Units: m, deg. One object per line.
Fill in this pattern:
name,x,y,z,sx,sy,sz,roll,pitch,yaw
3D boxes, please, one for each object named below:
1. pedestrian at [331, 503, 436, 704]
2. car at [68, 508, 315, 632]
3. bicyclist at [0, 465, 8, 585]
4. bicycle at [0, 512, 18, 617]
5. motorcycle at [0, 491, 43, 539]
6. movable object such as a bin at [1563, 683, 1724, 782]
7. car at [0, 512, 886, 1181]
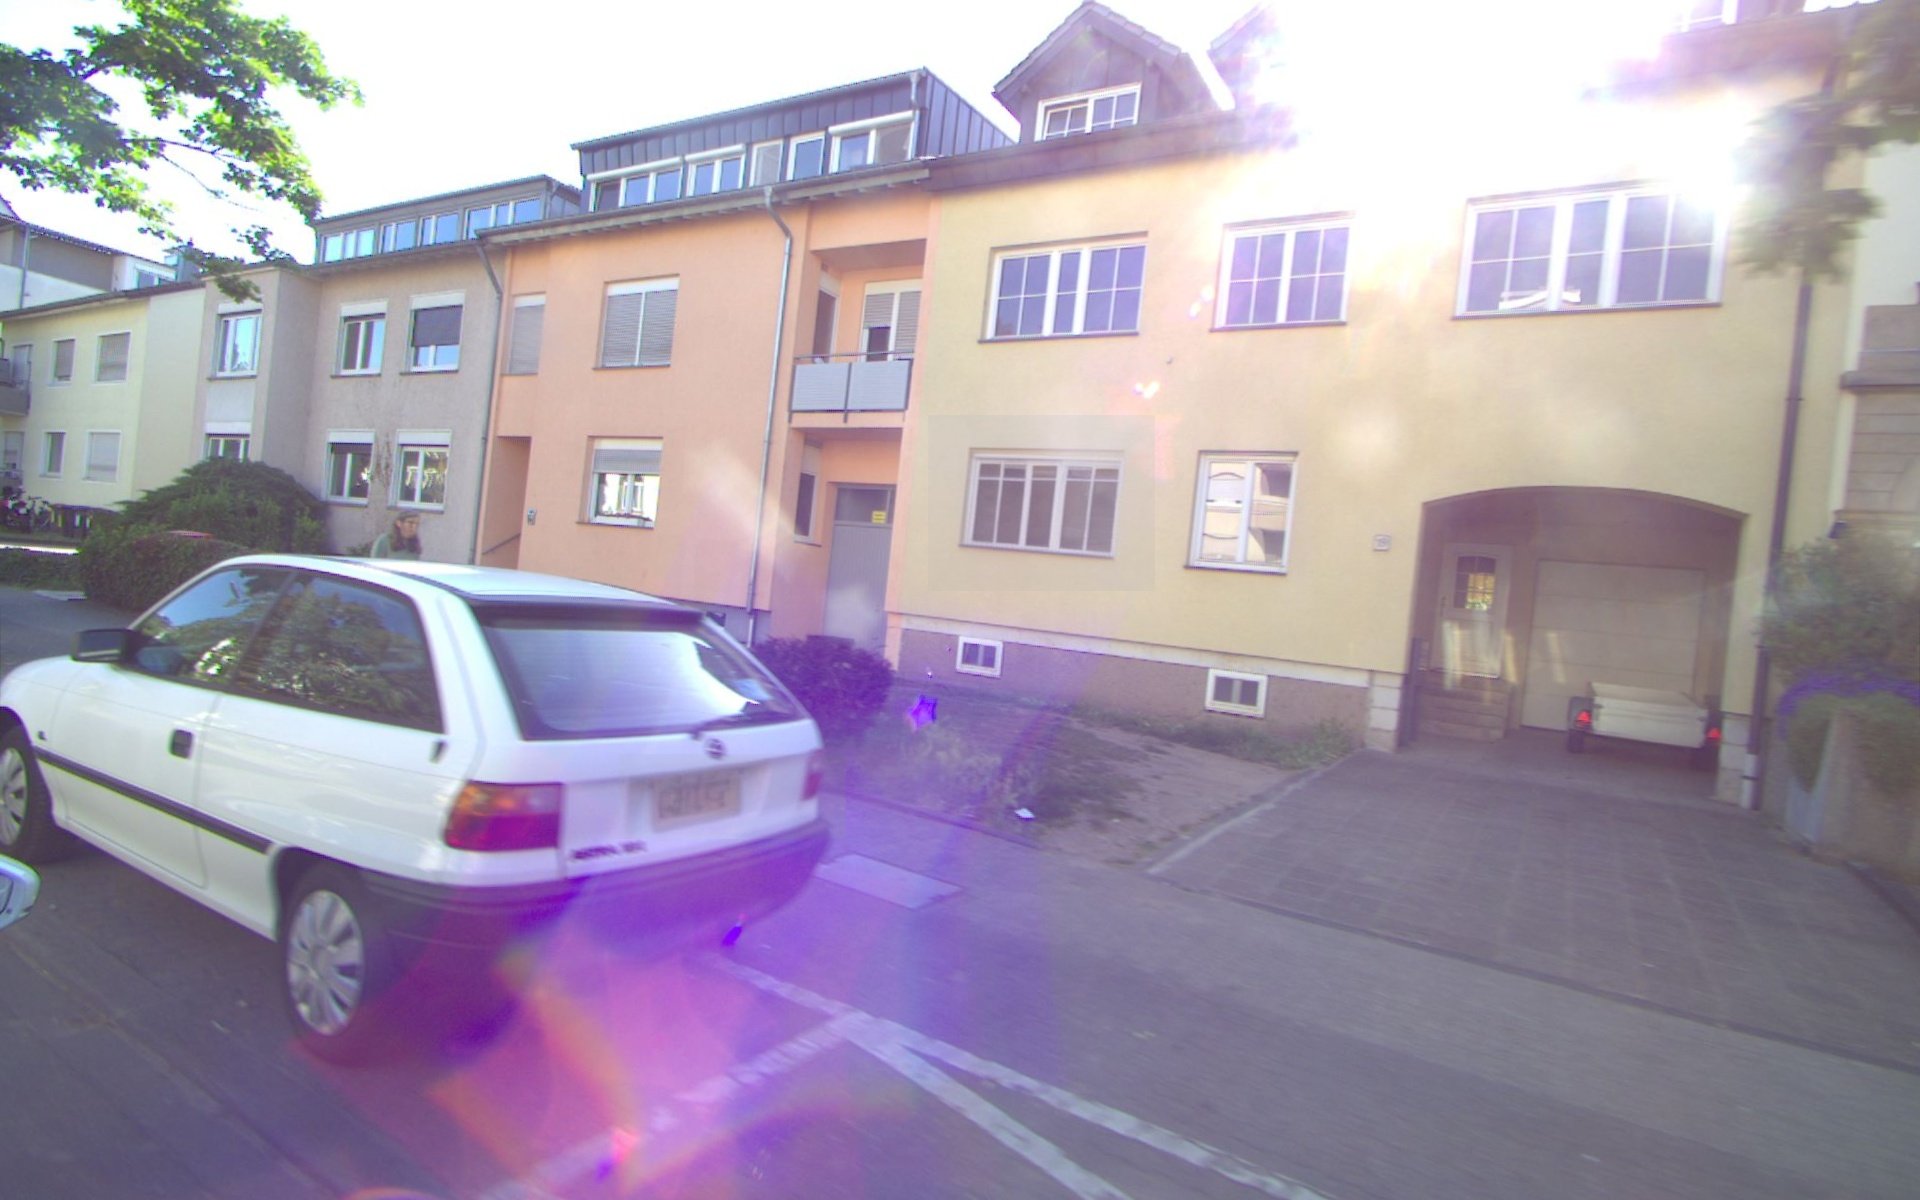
pedestrian,-5.112,0.033,8.927,0.485,1.699,0.538,7,2,31
car,-10.871,-0.447,14.176,3.656,1.374,1.532,6,3,31
bicyclist,-12.483,-0.815,12.435,0.999,1.816,0.724,7,2,31
bicycle,-12.509,-0.515,12.483,1.791,1.263,0.698,7,2,32
motorcycle,-30.704,-2.776,32.690,2.385,1.393,0.636,7,2,32
movable object such as a bin,8.682,1.644,12.916,1.463,0.906,1.777,6,1,29
car,-2.414,0.521,4.109,3.904,1.422,1.649,7,2,32
